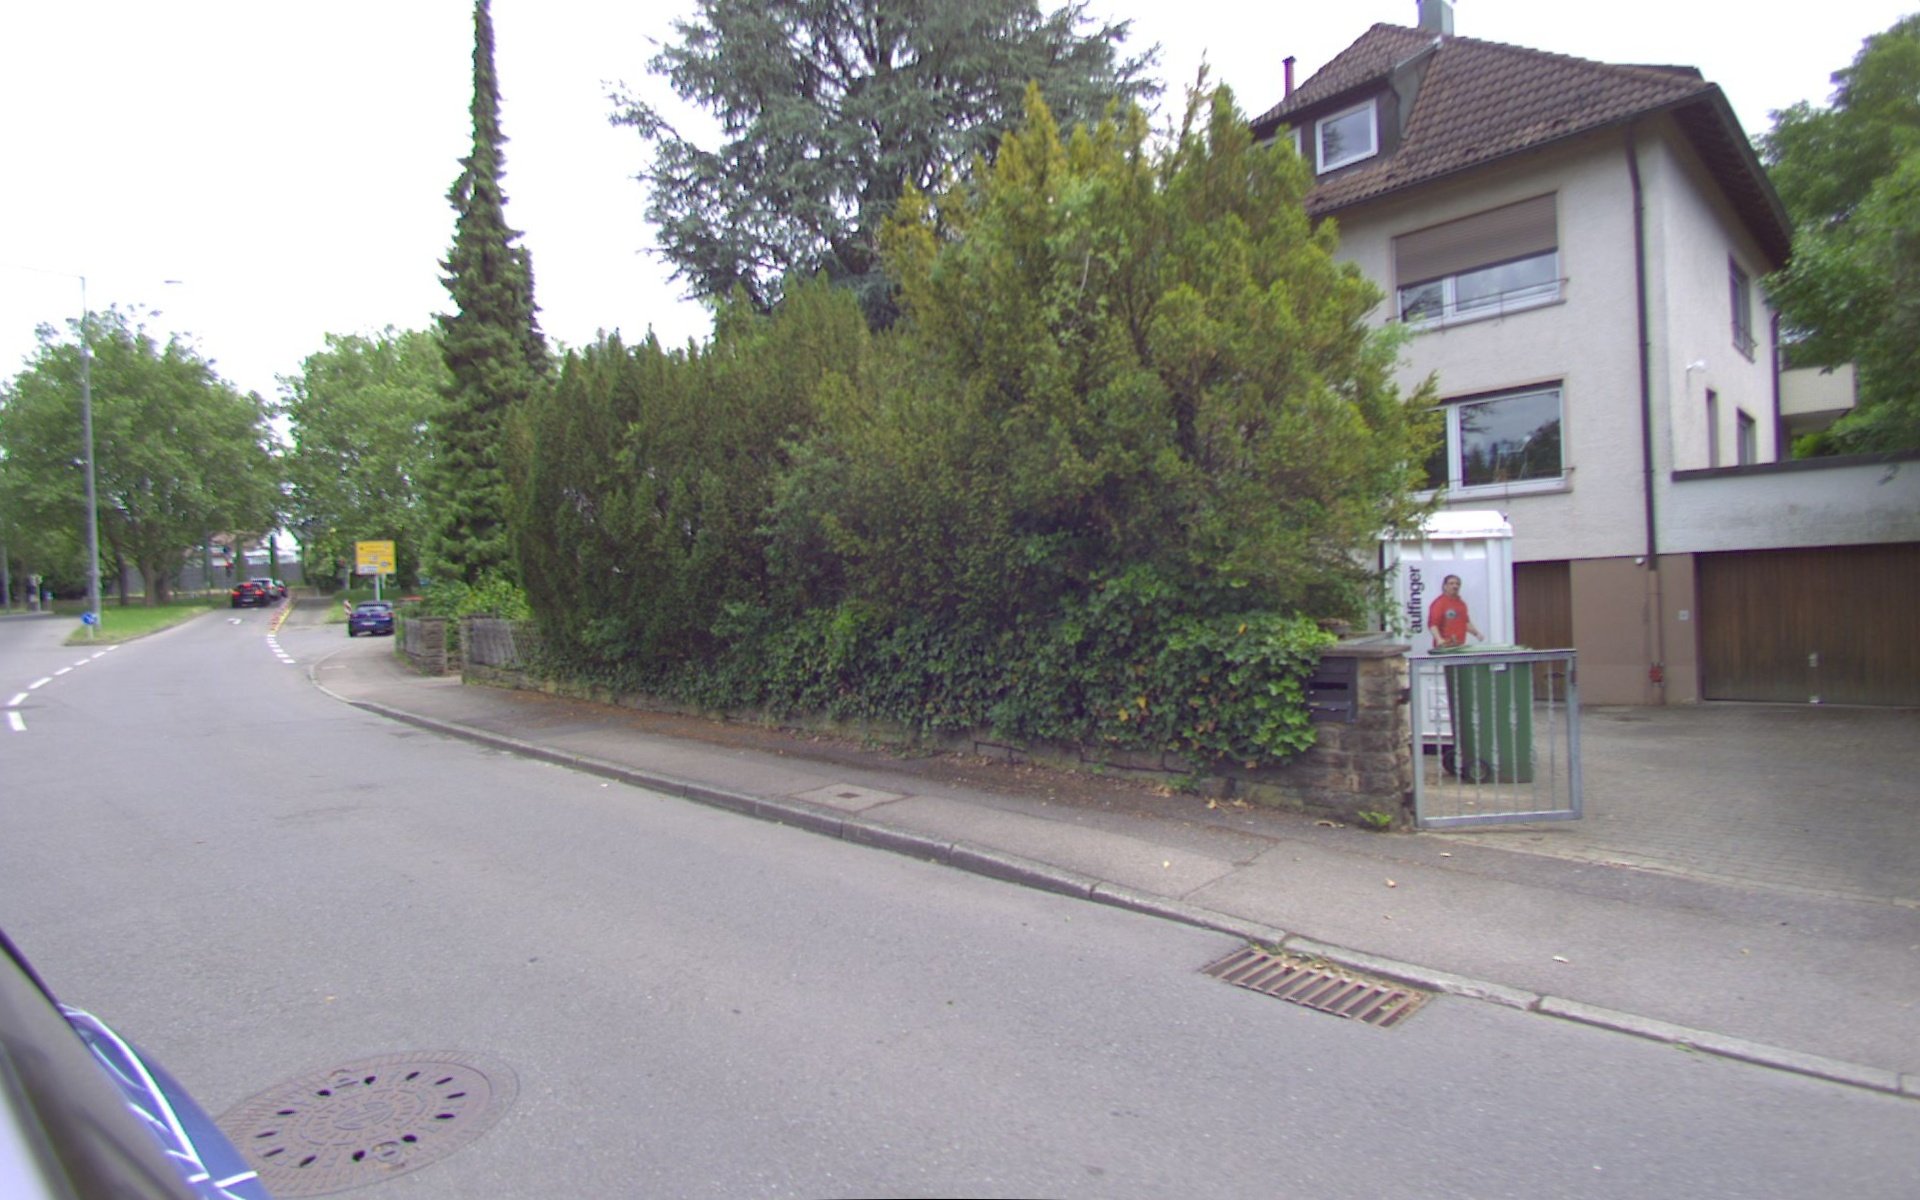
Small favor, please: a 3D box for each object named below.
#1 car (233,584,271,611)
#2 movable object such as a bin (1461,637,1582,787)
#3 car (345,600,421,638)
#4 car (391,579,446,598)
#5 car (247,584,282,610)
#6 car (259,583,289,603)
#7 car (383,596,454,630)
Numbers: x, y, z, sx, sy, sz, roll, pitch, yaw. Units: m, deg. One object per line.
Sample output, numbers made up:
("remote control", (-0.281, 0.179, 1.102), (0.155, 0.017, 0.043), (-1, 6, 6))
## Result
("car", (-47.715, -0.205, 68.256), (1.733, 1.603, 4.627), (-2, 3, -31))
("movable object such as a bin", (4.376, 0.860, 7.927), (0.612, 1.096, 0.656), (-3, -2, 14))
("car", (-24.390, 0.762, 42.914), (1.703, 1.485, 4.327), (-1, 1, -14))
("car", (-50.556, -1.038, 94.530), (4.088, 1.440, 1.797), (-3, -3, -1))
("car", (-52.767, -0.196, 76.797), (1.826, 1.671, 4.921), (-2, -1, -31))
("car", (-55.877, -0.600, 82.465), (1.733, 1.528, 4.400), (-2, 1, -31))
("car", (-25.708, 0.596, 48.194), (1.705, 1.485, 4.287), (-1, 1, -10))
